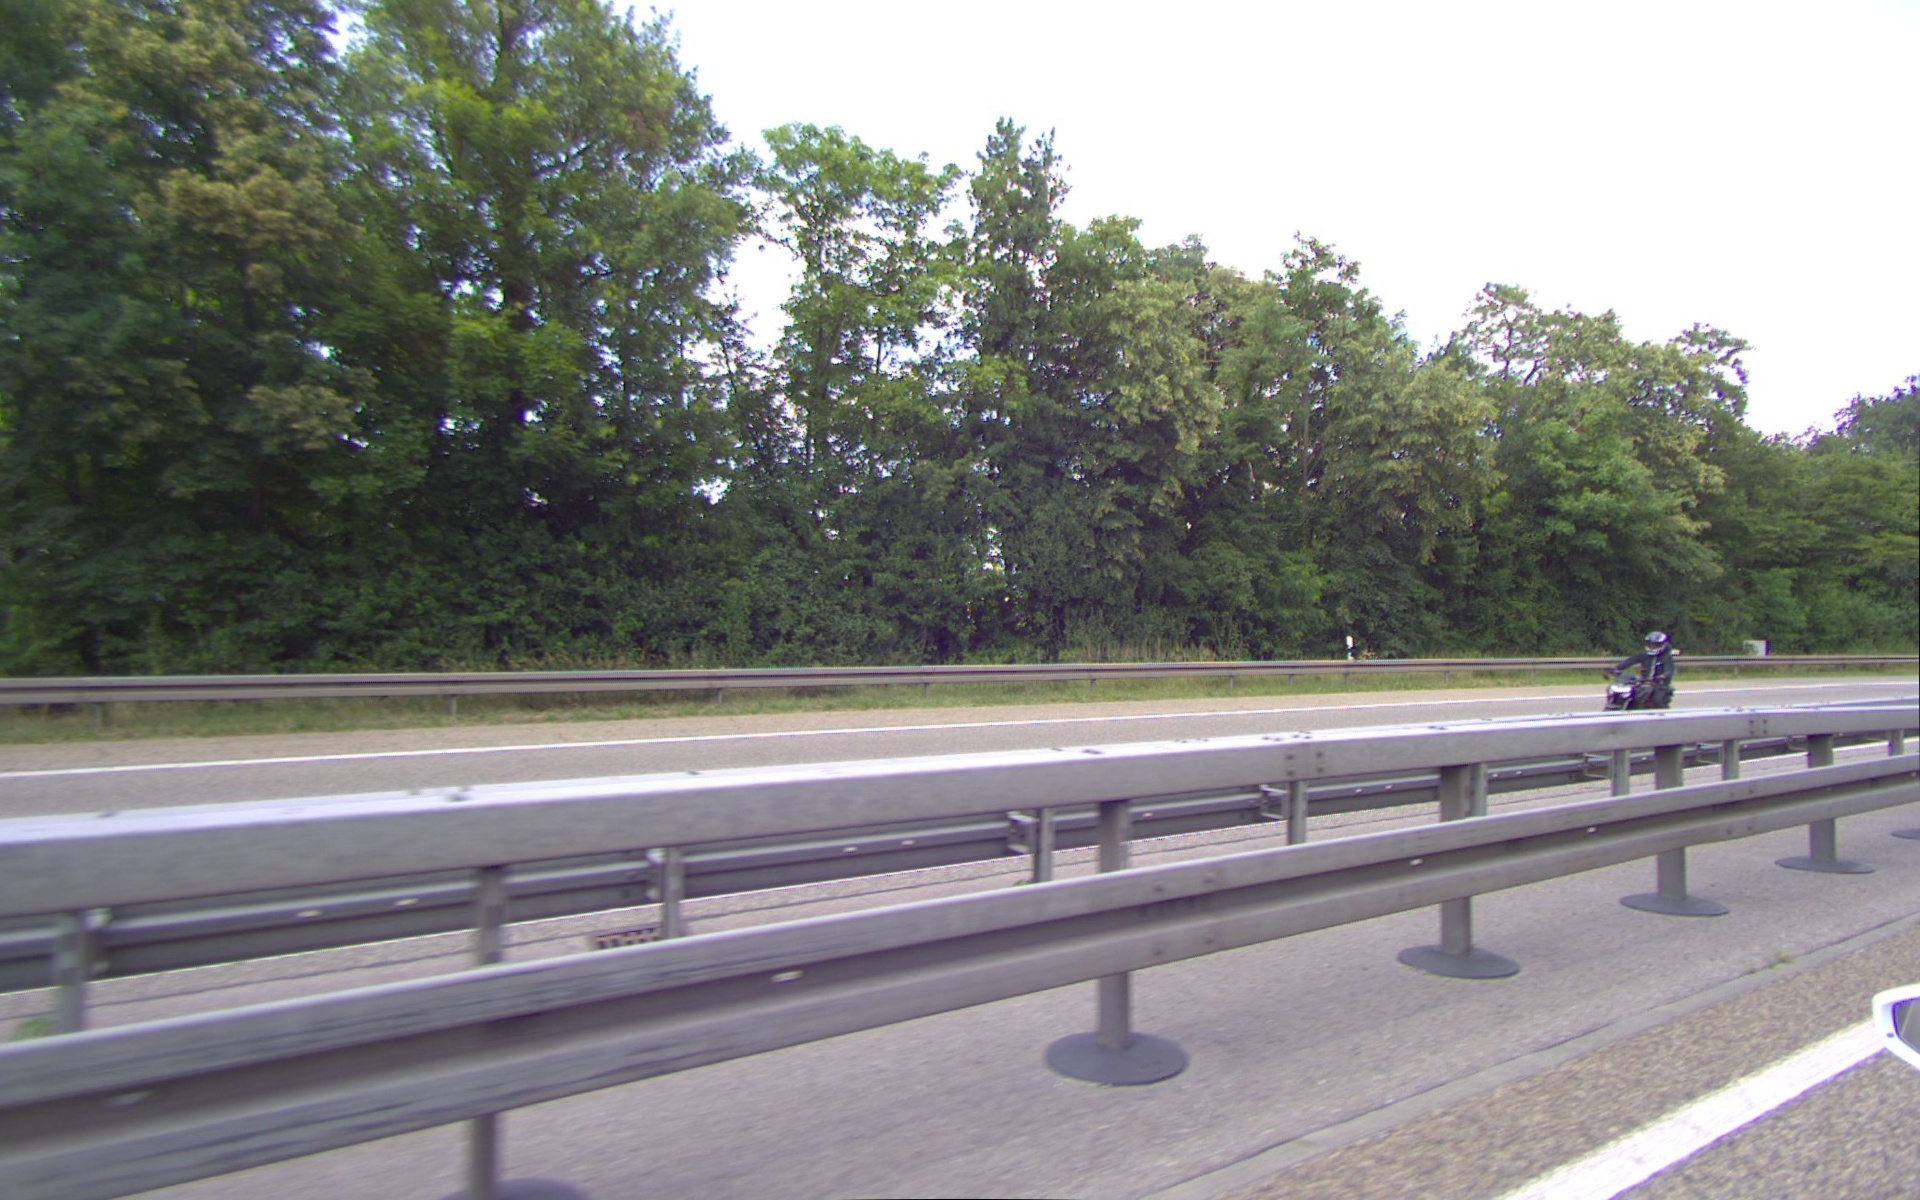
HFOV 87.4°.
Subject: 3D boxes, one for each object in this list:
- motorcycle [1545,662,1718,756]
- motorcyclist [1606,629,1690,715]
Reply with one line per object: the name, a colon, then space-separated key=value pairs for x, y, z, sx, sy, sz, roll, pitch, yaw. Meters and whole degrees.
motorcycle: x=10.071 y=1.575 z=15.015 sx=2.963 sy=1.217 sz=0.995 roll=1 pitch=-1 yaw=-31
motorcyclist: x=10.334 y=1.065 z=15.091 sx=0.712 sy=1.242 sz=0.821 roll=1 pitch=-1 yaw=-30
